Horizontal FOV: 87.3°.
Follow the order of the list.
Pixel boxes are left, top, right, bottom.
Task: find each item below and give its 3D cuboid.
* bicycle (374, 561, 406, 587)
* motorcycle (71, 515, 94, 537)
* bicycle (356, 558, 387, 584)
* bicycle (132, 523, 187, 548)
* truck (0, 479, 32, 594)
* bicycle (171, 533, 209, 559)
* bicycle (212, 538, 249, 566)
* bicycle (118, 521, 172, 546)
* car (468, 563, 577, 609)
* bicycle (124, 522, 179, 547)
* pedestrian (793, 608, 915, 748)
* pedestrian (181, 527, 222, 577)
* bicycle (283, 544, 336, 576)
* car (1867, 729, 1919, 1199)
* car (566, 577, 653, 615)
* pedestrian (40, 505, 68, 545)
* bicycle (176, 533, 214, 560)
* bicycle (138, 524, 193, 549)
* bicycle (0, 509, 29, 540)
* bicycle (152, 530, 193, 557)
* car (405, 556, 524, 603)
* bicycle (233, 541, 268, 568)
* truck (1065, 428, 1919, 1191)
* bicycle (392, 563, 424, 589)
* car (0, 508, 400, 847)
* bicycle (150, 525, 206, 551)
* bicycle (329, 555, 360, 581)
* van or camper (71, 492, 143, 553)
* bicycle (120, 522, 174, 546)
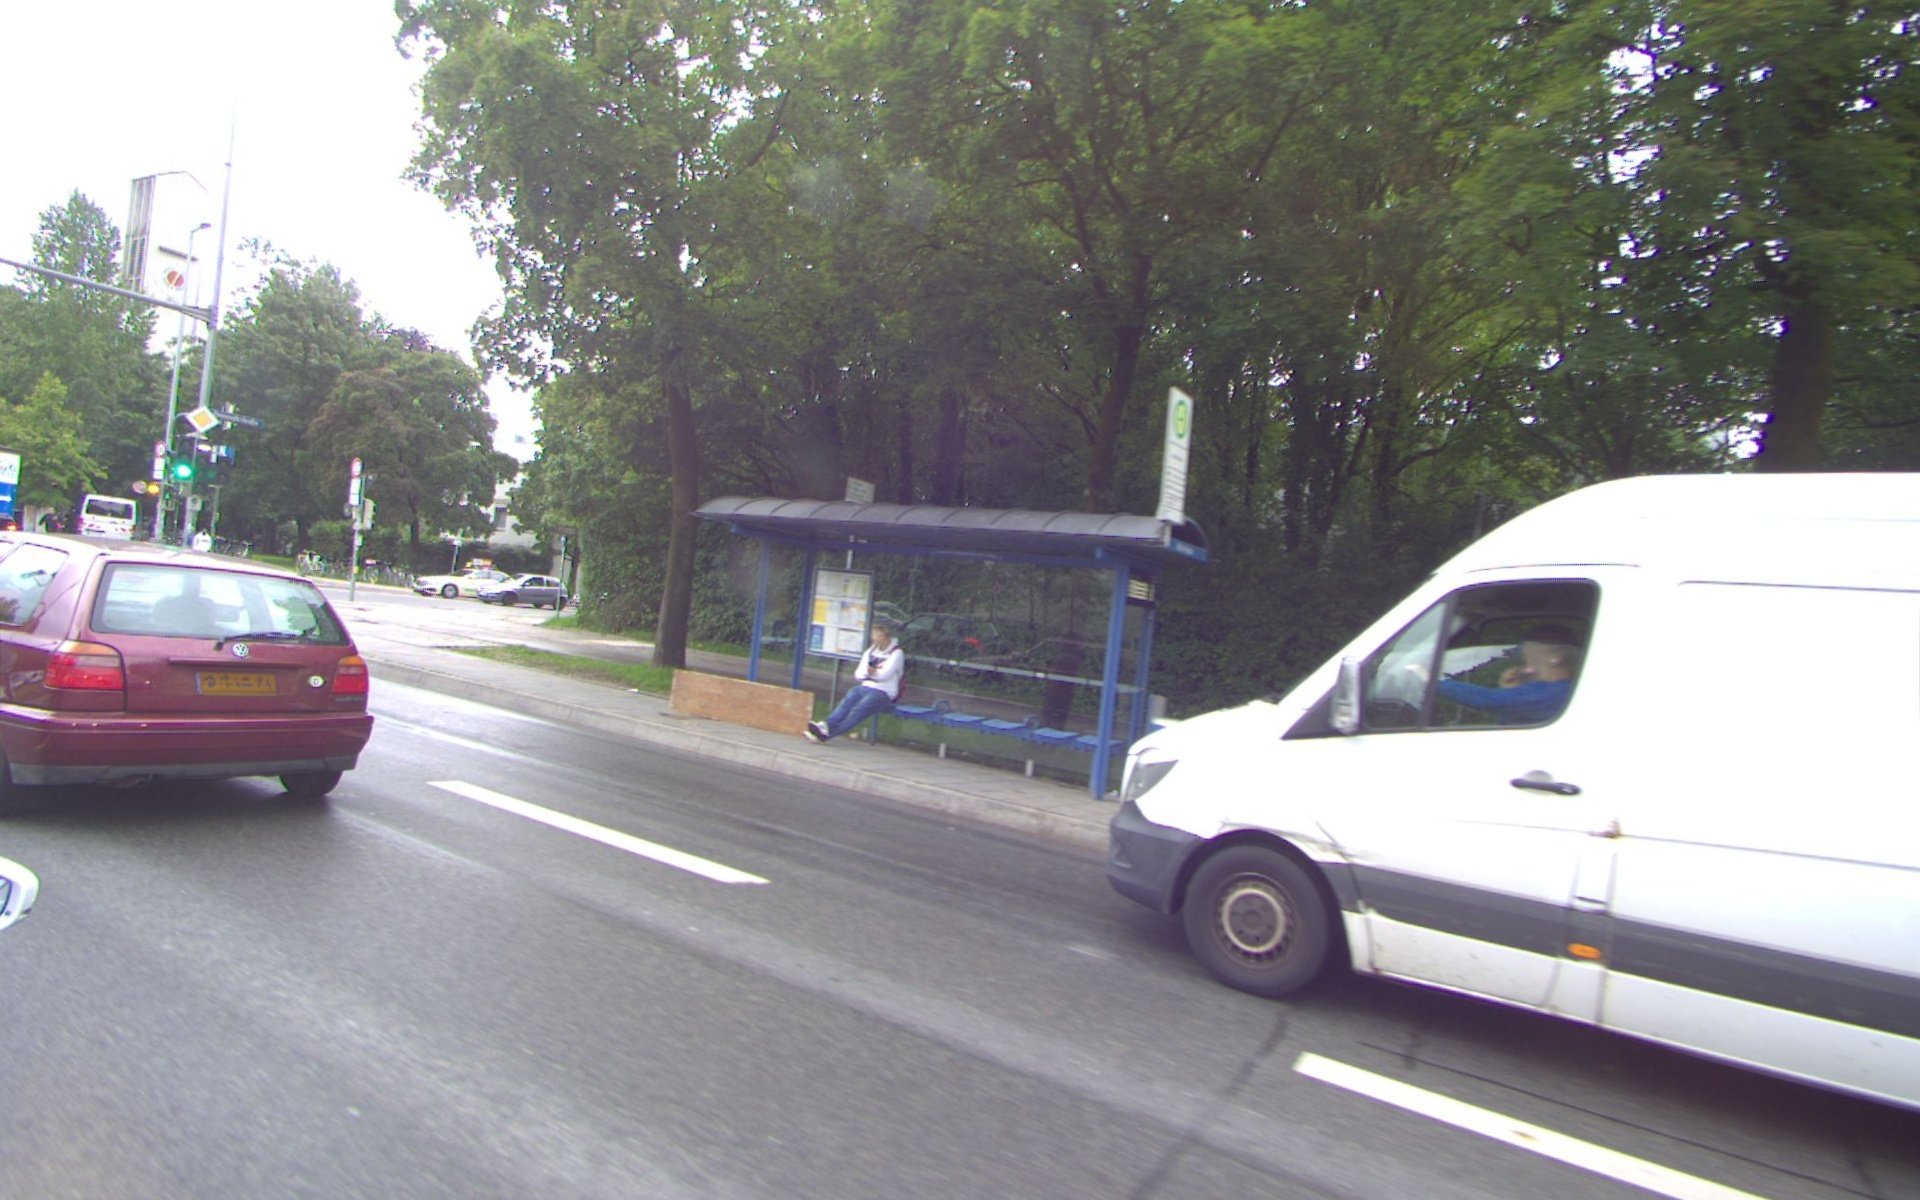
[{"bbox_3d":[-27.990,-1.281,49.387,2.085,1.108,0.607,6,0,41],"label":"bicycle"},{"bbox_3d":[-52.964,-4.465,60.705,0.652,1.192,1.799,6,0,-31],"label":"motorcycle"},{"bbox_3d":[-28.624,-1.405,48.909,2.086,1.108,0.606,6,0,43],"label":"bicycle"},{"bbox_3d":[-45.272,-3.633,56.898,0.520,1.172,2.338,7,2,32],"label":"bicycle"},{"bbox_3d":[-19.977,-1.432,19.525,5.730,2.038,2.097,6,-1,40],"label":"truck"},{"bbox_3d":[-39.249,-2.743,51.298,0.707,1.167,2.122,6,-1,-16],"label":"bicycle"},{"bbox_3d":[-35.120,-2.312,48.428,2.096,1.167,0.716,6,0,36],"label":"bicycle"},{"bbox_3d":[-47.508,-3.858,58.658,0.520,1.172,2.338,7,2,32],"label":"bicycle"},{"bbox_3d":[-18.630,-0.558,42.951,1.601,1.471,3.941,6,-1,33],"label":"car"},{"bbox_3d":[-46.150,-3.727,57.448,0.520,1.172,2.338,7,2,32],"label":"bicycle"},{"bbox_3d":[-1.142,0.882,11.065,0.601,1.398,1.157,6,-3,30],"label":"pedestrian"},{"bbox_3d":[-28.634,-1.805,37.972,0.922,1.724,0.761,6,0,24],"label":"pedestrian"},{"bbox_3d":[-31.388,-1.946,48.529,2.074,1.266,0.704,7,0,7],"label":"bicycle"},{"bbox_3d":[3.608,1.160,0.341,4.594,1.492,1.750,6,-2,32],"label":"car"},{"bbox_3d":[-17.752,-0.171,51.107,1.600,1.471,3.944,6,-1,30],"label":"car"},{"bbox_3d":[-38.035,-3.141,42.236,0.687,1.557,0.730,6,0,-38],"label":"pedestrian"},{"bbox_3d":[-38.055,-2.635,50.069,0.707,1.167,2.122,6,-1,-16],"label":"bicycle"},{"bbox_3d":[-44.641,-3.562,56.570,0.520,1.172,2.338,7,2,32],"label":"bicycle"},{"bbox_3d":[-41.930,-3.355,44.388,1.969,1.214,0.860,6,1,37],"label":"bicycle"},{"bbox_3d":[-40.596,-2.899,51.865,0.707,1.167,2.124,6,-1,-12],"label":"bicycle"},{"bbox_3d":[-21.721,-0.874,44.276,1.855,1.515,4.308,6,-1,30],"label":"car"},{"bbox_3d":[-34.634,-2.224,49.091,2.096,1.167,0.696,6,0,36],"label":"bicycle"},{"bbox_3d":[4.201,0.833,4.149,7.108,2.634,1.997,6,-1,32],"label":"truck"},{"bbox_3d":[-27.240,-1.174,49.606,2.085,1.108,0.607,6,0,41],"label":"bicycle"},{"bbox_3d":[-5.328,0.245,6.114,3.885,1.471,1.624,6,-1,33],"label":"car"},{"bbox_3d":[-42.764,-3.376,55.026,0.520,1.172,2.338,7,2,32],"label":"bicycle"},{"bbox_3d":[-29.917,-1.551,48.915,2.085,1.108,0.607,6,0,41],"label":"bicycle"},{"bbox_3d":[-38.649,-3.478,45.702,2.132,2.324,6.132,7,-1,-39],"label":"van or camper"},{"bbox_3d":[-47.057,-3.813,58.283,0.520,1.172,2.338,7,2,32],"label":"bicycle"}]
